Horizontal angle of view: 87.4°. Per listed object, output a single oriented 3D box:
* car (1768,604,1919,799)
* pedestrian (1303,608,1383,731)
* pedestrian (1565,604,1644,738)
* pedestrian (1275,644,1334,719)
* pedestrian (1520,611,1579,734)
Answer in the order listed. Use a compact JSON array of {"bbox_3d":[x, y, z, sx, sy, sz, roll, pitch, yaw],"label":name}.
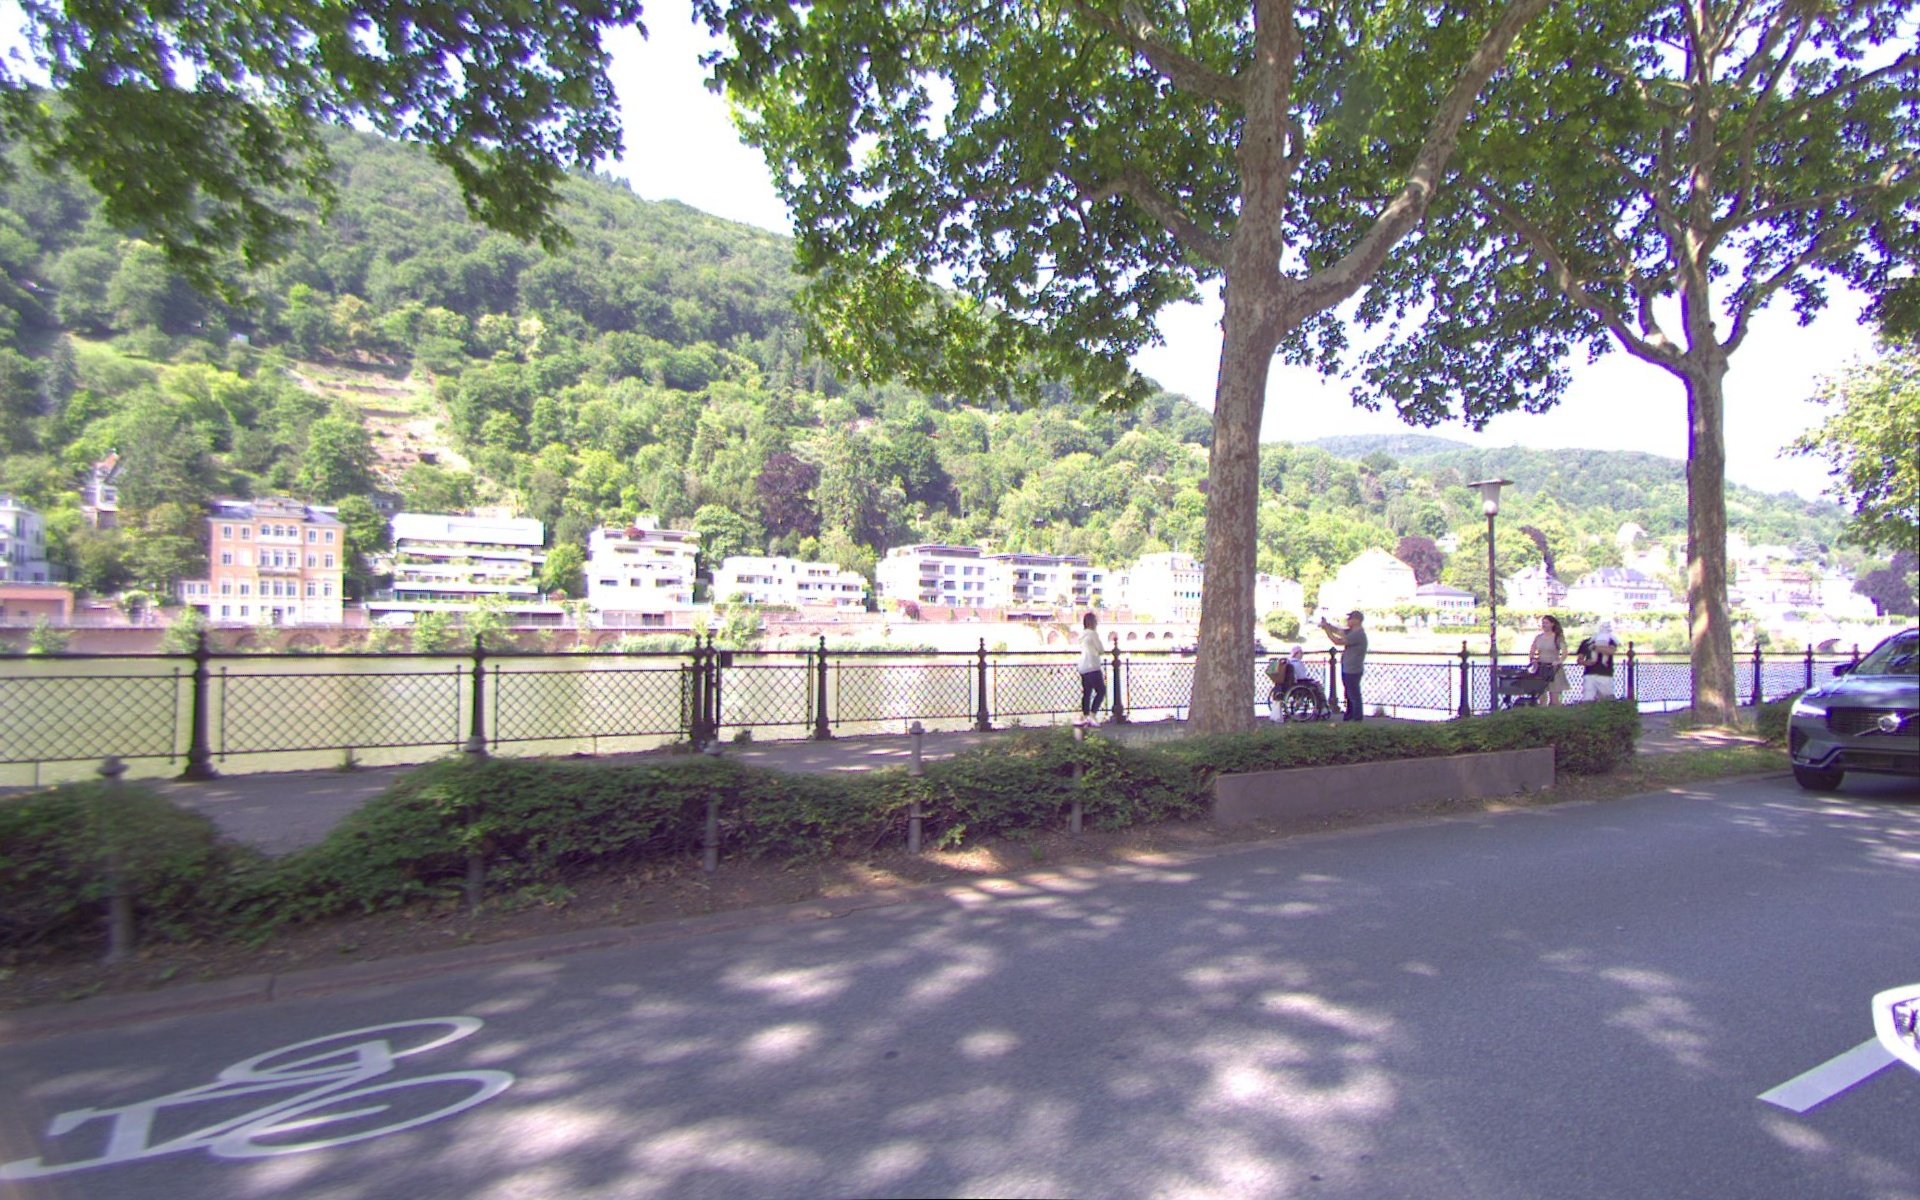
[{"bbox_3d":[10.185,0.956,10.100,4.210,1.720,1.868,2,-3,-31],"label":"car"},{"bbox_3d":[5.684,1.013,14.912,0.864,1.740,0.689,2,0,-31],"label":"pedestrian"},{"bbox_3d":[9.404,1.024,14.663,0.796,1.894,0.638,1,-2,-29],"label":"pedestrian"},{"bbox_3d":[5.602,1.314,16.347,0.687,1.193,0.607,1,-3,-29],"label":"pedestrian"},{"bbox_3d":[8.815,1.075,15.018,0.585,1.791,0.514,1,-2,-29],"label":"pedestrian"}]
